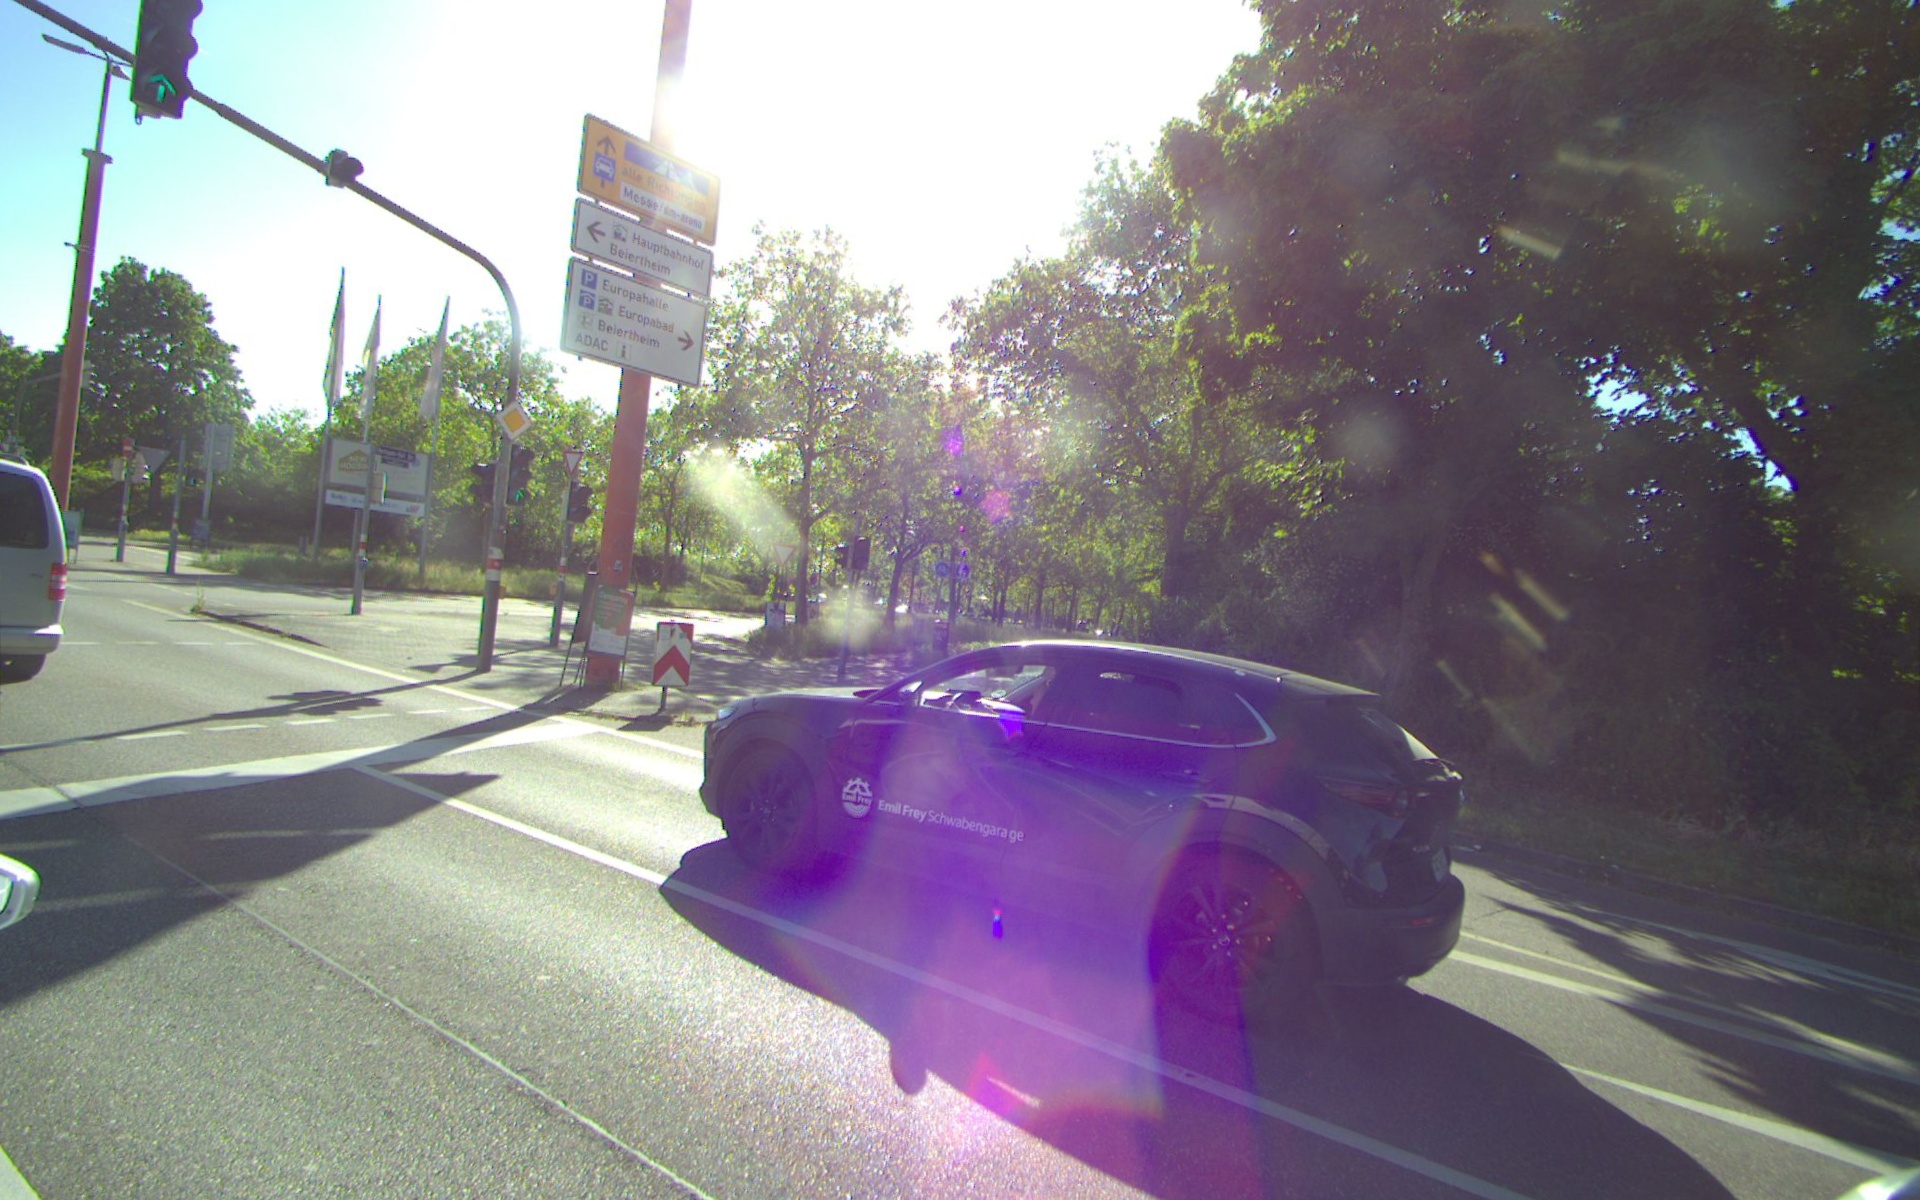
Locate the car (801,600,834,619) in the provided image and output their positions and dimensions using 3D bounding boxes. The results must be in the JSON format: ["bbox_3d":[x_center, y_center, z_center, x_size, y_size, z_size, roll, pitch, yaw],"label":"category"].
[{"bbox_3d":[-15.355,1.039,108.621,1.831,1.534,4.143,7,-2,15],"label":"car"}]

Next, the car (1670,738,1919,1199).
[{"bbox_3d":[2.861,1.172,0.310,4.126,1.472,1.716,7,0,30],"label":"car"}]

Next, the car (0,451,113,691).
[{"bbox_3d":[-9.468,-0.452,8.683,4.510,1.843,1.808,6,-1,31],"label":"car"}]

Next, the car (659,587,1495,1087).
[{"bbox_3d":[0.502,0.954,5.620,4.157,1.525,1.771,6,-2,33],"label":"car"}]
